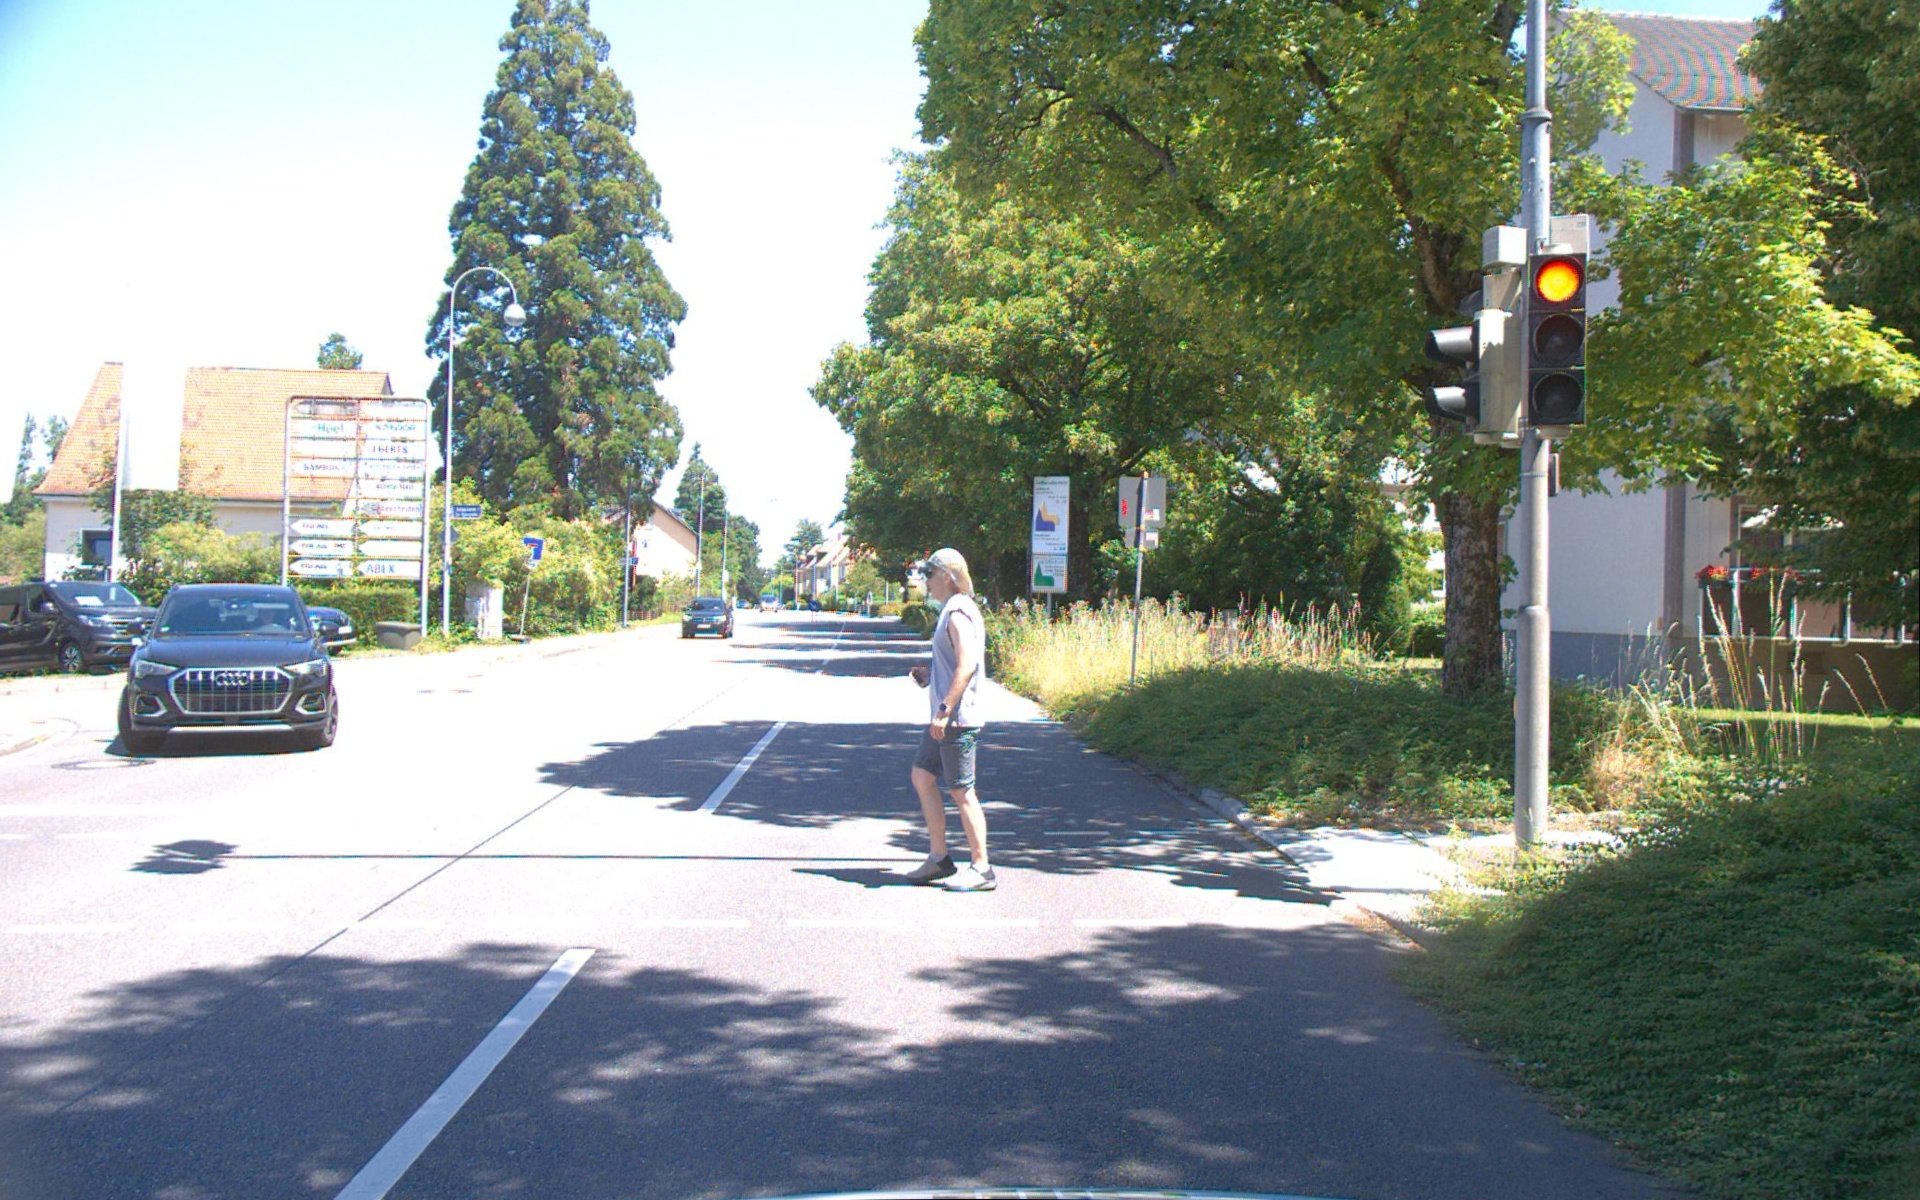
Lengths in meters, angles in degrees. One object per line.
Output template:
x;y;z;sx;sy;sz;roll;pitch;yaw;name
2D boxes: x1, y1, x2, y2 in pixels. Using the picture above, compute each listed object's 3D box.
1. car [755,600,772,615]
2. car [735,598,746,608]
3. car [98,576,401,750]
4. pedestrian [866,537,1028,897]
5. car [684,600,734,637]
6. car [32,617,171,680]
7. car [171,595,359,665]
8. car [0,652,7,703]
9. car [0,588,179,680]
-20.418;0.761;172.059;1.525;1.473;3.786;1;-1;-5;car
-33.155;0.445;249.504;1.431;1.460;3.180;1;-1;-5;car
-7.196;0.602;17.235;1.887;1.553;4.297;-1;-1;-9;car
-0.063;0.581;8.598;0.603;1.782;0.560;0;-1;37;pedestrian
-9.480;0.697;62.624;1.402;1.345;3.354;1;-1;-1;car
-20.515;1.150;39.587;2.601;1.452;1.344;0;0;-3;car
-14.889;0.633;35.573;3.425;1.452;1.598;0;0;-8;car
-24.505;1.911;39.597;1.713;1.247;3.240;1;0;-6;car
-17.302;0.667;32.613;3.089;1.744;1.569;1;-1;-11;car
